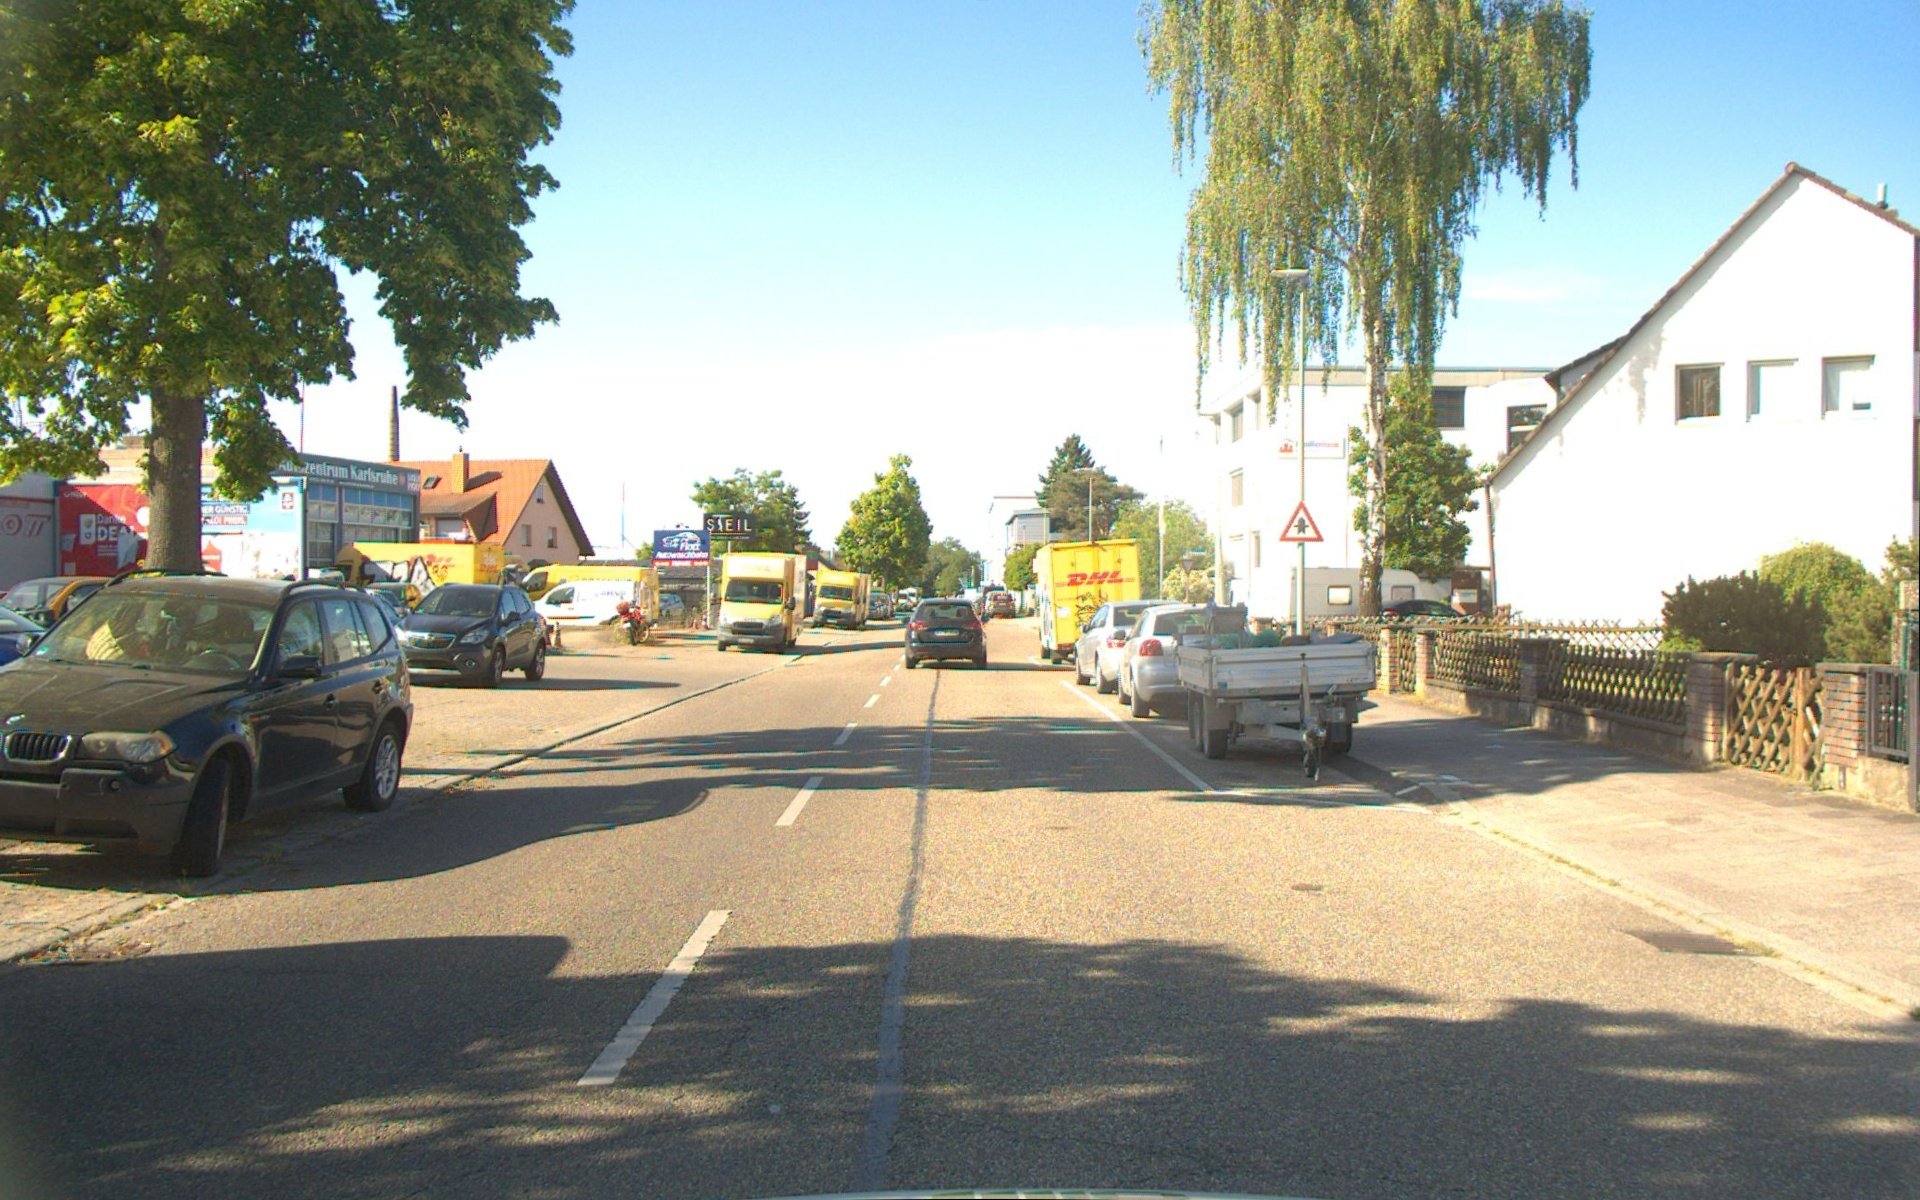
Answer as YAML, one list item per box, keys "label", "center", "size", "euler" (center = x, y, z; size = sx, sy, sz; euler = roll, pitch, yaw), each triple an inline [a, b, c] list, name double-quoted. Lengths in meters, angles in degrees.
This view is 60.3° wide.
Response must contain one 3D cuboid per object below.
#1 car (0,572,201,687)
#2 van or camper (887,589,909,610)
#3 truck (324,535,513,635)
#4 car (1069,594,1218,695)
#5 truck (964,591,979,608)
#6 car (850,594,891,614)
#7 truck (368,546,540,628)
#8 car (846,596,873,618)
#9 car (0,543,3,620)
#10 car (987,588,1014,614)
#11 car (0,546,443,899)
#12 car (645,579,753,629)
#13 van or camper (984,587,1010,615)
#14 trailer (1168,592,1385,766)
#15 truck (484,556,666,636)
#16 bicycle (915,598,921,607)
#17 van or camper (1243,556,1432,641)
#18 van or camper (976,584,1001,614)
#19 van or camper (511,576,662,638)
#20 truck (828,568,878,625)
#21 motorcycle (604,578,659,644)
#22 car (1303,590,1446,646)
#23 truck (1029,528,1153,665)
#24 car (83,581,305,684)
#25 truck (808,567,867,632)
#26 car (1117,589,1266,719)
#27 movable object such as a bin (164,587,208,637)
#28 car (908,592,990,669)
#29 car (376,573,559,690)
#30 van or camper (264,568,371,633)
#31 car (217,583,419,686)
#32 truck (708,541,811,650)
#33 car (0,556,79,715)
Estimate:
- label: "car"
  center: [-15.177, 0.434, 28.457]
  size: [1.738, 1.778, 4.168]
  euler: [0, 1, 11]
- label: "van or camper"
  center: [-7.167, -0.041, 190.937]
  size: [2.277, 2.403, 6.523]
  euler: [0, 0, -4]
- label: "truck"
  center: [-18.564, -0.526, 56.800]
  size: [5.547, 3.174, 2.525]
  euler: [2, 0, 11]
- label: "car"
  center: [3.010, 0.686, 27.989]
  size: [1.748, 1.569, 4.534]
  euler: [0, 0, -4]
- label: "truck"
  center: [1.549, -0.083, 225.612]
  size: [1.953, 2.328, 6.955]
  euler: [0, 0, 0]
- label: "car"
  center: [-6.965, 0.288, 127.716]
  size: [1.851, 1.511, 4.014]
  euler: [-2, 1, -24]
- label: "truck"
  center: [-19.265, -0.488, 63.022]
  size: [5.961, 3.024, 2.175]
  euler: [0, 0, 13]
- label: "car"
  center: [-6.712, 0.430, 110.793]
  size: [1.721, 1.428, 4.555]
  euler: [0, 0, -2]
- label: "car"
  center: [-4.940, 0.625, 4.778]
  size: [1.767, 1.783, 4.341]
  euler: [2, 0, 0]
- label: "car"
  center: [2.926, 0.092, 120.794]
  size: [1.879, 1.857, 4.079]
  euler: [0, 0, 0]
- label: "car"
  center: [-4.946, 0.613, 10.899]
  size: [1.640, 1.802, 4.554]
  euler: [2, 0, -1]
- label: "car"
  center: [-11.008, 0.158, 69.976]
  size: [4.157, 2.049, 1.870]
  euler: [0, 0, 8]
- label: "van or camper"
  center: [2.780, 0.087, 126.110]
  size: [1.879, 2.055, 4.079]
  euler: [0, 0, 0]
- label: "trailer"
  center: [3.064, 0.707, 16.547]
  size: [1.594, 1.565, 3.198]
  euler: [0, 0, 1]
- label: "truck"
  center: [-13.623, -0.155, 58.642]
  size: [5.795, 2.612, 2.226]
  euler: [2, 0, 11]
- label: "bicycle"
  center: [-5.583, 0.387, 221.492]
  size: [0.812, 1.173, 2.939]
  euler: [0, 0, -2]
- label: "van or camper"
  center: [12.021, -0.045, 52.648]
  size: [5.740, 2.586, 2.272]
  euler: [0, 0, -25]
- label: "van or camper"
  center: [2.243, -0.065, 131.219]
  size: [1.953, 2.351, 4.000]
  euler: [0, 0, 0]
- label: "van or camper"
  center: [-12.545, 0.215, 55.746]
  size: [4.447, 2.049, 2.252]
  euler: [0, 0, 6]
- label: "truck"
  center: [-5.855, -0.186, 91.479]
  size: [2.147, 2.952, 6.439]
  euler: [2, 0, 1]
- label: "motorcycle"
  center: [-9.940, 0.307, 50.137]
  size: [0.765, 1.905, 3.042]
  euler: [3, 1, 4]
- label: "car"
  center: [12.494, 0.528, 49.834]
  size: [3.935, 1.646, 1.797]
  euler: [0, 0, -24]
- label: "truck"
  center: [3.083, -0.067, 40.575]
  size: [2.354, 2.988, 7.015]
  euler: [-2, 0, 0]
- label: "car"
  center: [-12.858, 0.577, 28.084]
  size: [1.823, 1.618, 4.275]
  euler: [0, -2, -1]
- label: "truck"
  center: [-6.012, -0.038, 82.038]
  size: [2.353, 3.035, 6.373]
  euler: [2, 0, 0]
- label: "car"
  center: [3.037, 0.651, 22.347]
  size: [1.639, 1.569, 4.045]
  euler: [1, 0, 3]
- label: "movable object such as a bin"
  center: [-23.221, 0.348, 49.614]
  size: [0.526, 1.477, 1.302]
  euler: [0, 0, 11]
- label: "car"
  center: [-0.207, 0.609, 35.822]
  size: [1.676, 1.559, 3.688]
  euler: [0, 0, 1]
- label: "car"
  center: [-8.317, 0.496, 28.320]
  size: [1.824, 1.744, 4.275]
  euler: [3, 0, -1]
- label: "van or camper"
  center: [-20.804, 0.005, 53.696]
  size: [1.822, 2.049, 4.001]
  euler: [0, 0, 1]
- label: "car"
  center: [-10.768, 0.537, 28.090]
  size: [1.823, 1.617, 4.275]
  euler: [0, 0, -1]
- label: "truck"
  center: [-6.033, -0.126, 50.616]
  size: [2.354, 3.035, 7.243]
  euler: [2, 0, -1]
- label: "car"
  center: [-12.622, 0.397, 18.958]
  size: [4.159, 1.759, 1.767]
  euler: [0, 0, 5]
